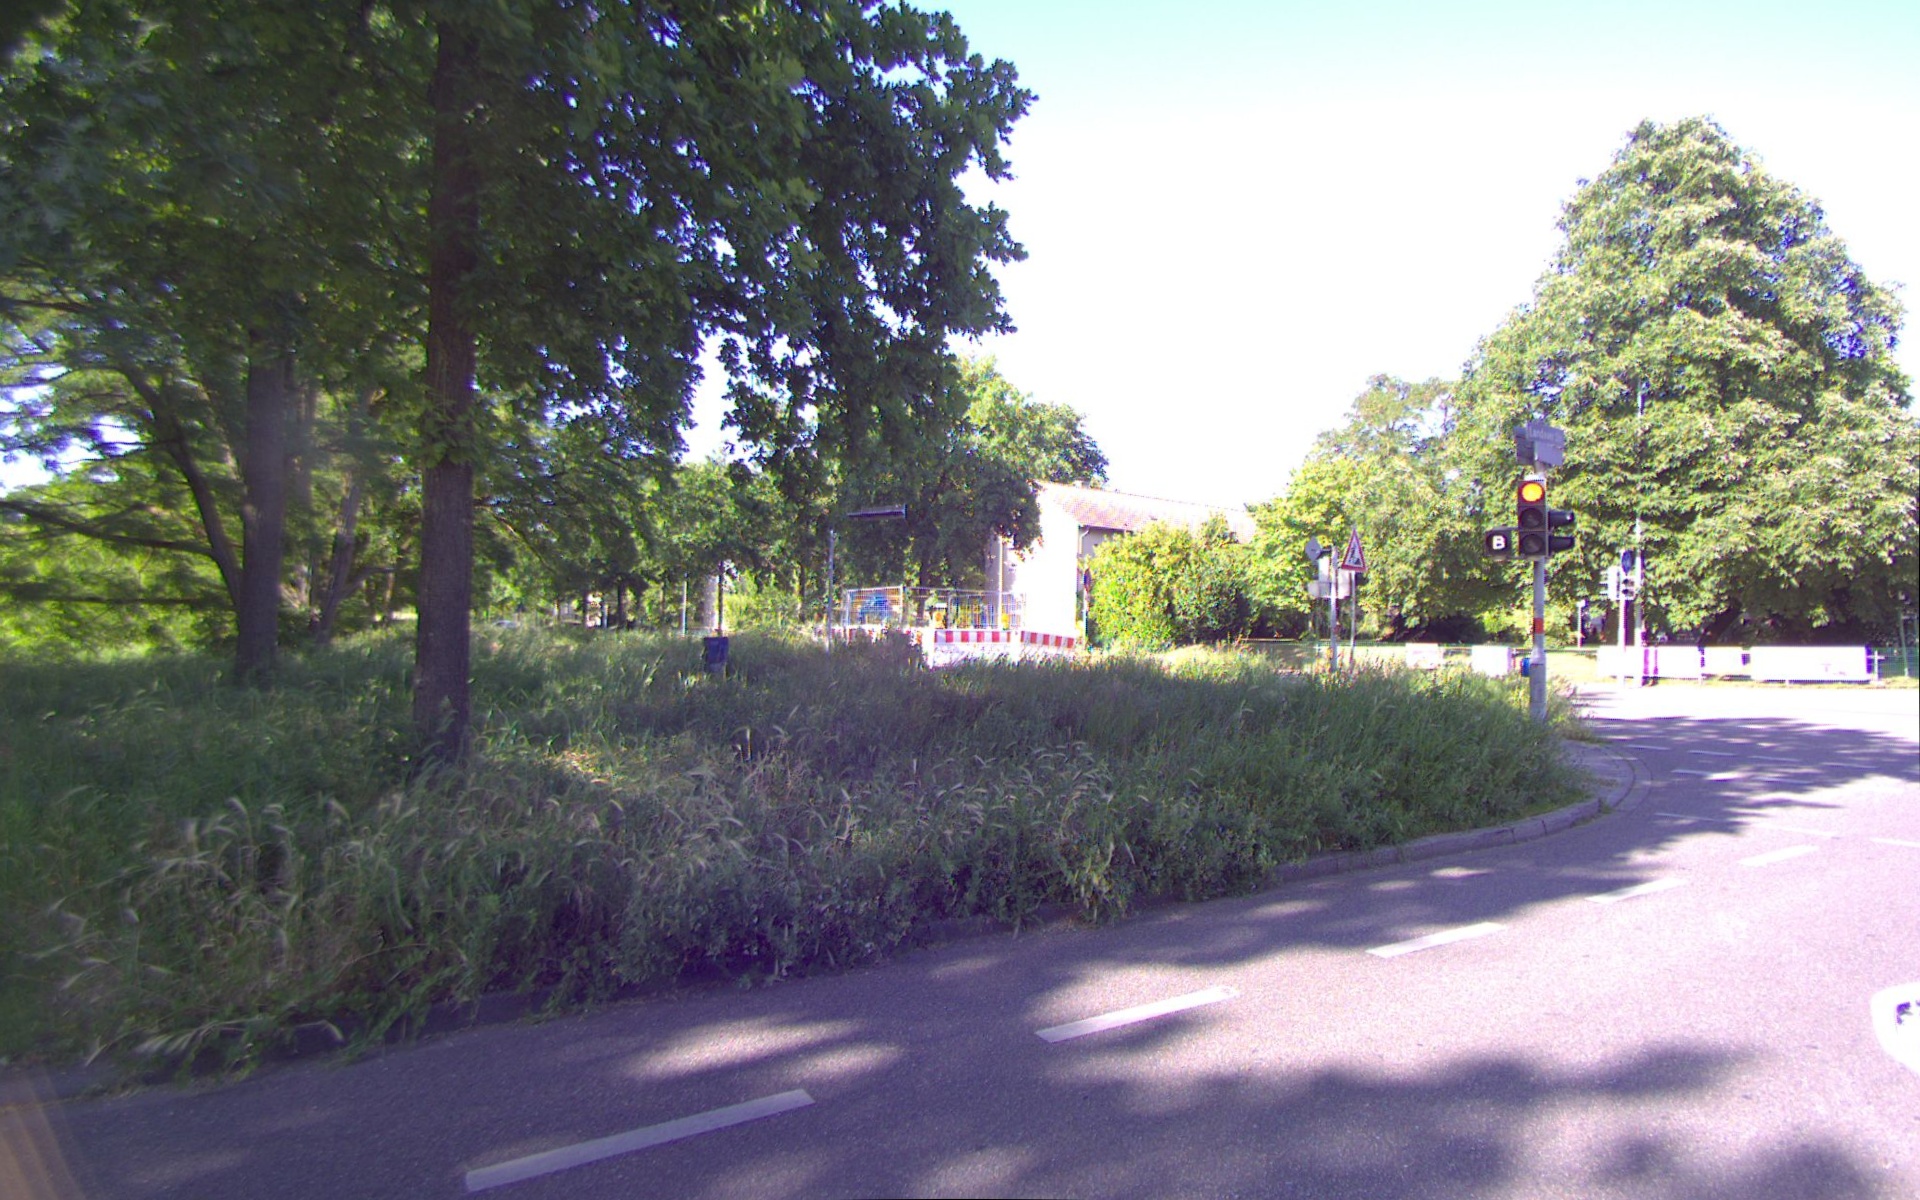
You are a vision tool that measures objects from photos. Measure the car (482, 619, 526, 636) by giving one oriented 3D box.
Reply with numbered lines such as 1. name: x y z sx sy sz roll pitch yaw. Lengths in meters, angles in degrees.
1. car: -47.379 2.856 104.495 3.939 1.673 1.991 2 0 -20
